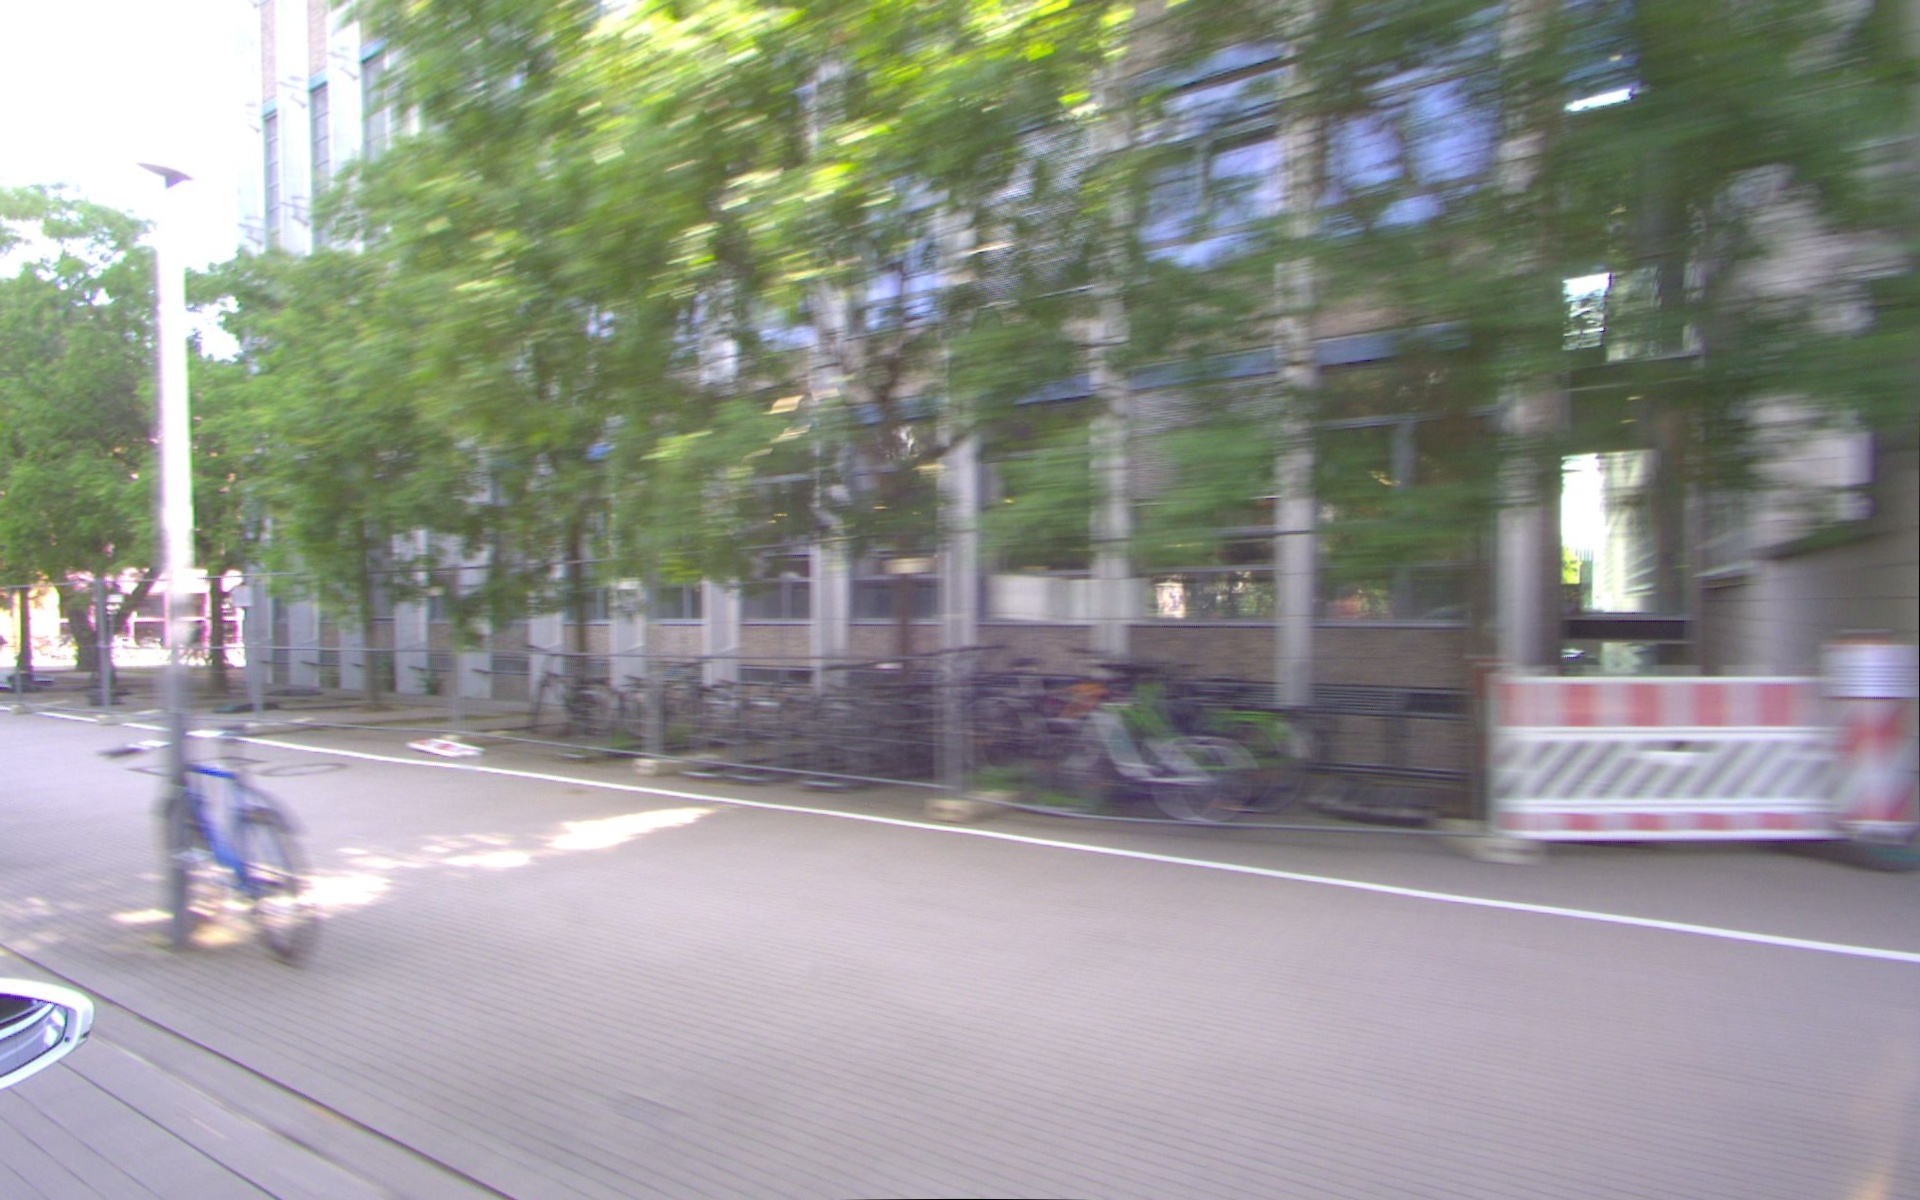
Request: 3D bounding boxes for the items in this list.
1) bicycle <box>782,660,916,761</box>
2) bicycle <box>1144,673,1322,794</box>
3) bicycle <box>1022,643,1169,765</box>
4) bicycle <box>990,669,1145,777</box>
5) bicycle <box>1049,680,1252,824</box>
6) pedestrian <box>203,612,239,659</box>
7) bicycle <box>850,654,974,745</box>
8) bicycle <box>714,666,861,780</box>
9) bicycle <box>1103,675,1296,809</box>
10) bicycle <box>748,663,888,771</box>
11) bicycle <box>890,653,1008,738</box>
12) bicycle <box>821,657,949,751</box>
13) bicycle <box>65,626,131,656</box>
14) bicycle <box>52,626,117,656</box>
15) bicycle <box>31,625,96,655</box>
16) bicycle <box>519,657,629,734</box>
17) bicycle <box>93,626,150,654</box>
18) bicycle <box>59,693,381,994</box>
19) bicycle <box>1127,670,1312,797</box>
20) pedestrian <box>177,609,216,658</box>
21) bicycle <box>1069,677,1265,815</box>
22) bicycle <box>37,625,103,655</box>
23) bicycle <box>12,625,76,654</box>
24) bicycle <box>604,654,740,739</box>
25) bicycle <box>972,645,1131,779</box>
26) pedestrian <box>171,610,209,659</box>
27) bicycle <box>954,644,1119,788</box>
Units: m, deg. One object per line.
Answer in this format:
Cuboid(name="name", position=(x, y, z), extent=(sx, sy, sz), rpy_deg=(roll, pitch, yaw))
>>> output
Cuboid(name="bicycle", position=(-1.122, 1.085, 10.017), extent=(1.426, 0.917, 0.290), rpy_deg=(0, 0, 29))
Cuboid(name="bicycle", position=(2.293, 1.102, 8.482), extent=(1.426, 0.917, 0.290), rpy_deg=(0, 0, 29))
Cuboid(name="bicycle", position=(1.315, 0.989, 9.839), extent=(1.426, 1.113, 0.290), rpy_deg=(0, 0, 29))
Cuboid(name="bicycle", position=(0.981, 1.112, 9.290), extent=(1.426, 0.899, 0.290), rpy_deg=(0, 0, 29))
Cuboid(name="bicycle", position=(1.352, 1.065, 7.238), extent=(1.426, 0.917, 0.290), rpy_deg=(0, 0, 29))
Cuboid(name="pedestrian", position=(-28.602, 1.366, 38.756), extent=(0.674, 1.750, 0.901), rpy_deg=(-3, -1, 27))
Cuboid(name="bicycle", position=(-0.540, 1.078, 11.043), extent=(1.426, 0.917, 0.290), rpy_deg=(0, 0, 29))
Cuboid(name="bicycle", position=(-1.560, 1.075, 8.954), extent=(1.426, 0.917, 0.290), rpy_deg=(0, 0, 29))
Cuboid(name="bicycle", position=(1.833, 1.070, 7.747), extent=(1.426, 0.917, 0.290), rpy_deg=(0, 0, 29))
Cuboid(name="bicycle", position=(-1.359, 1.081, 9.459), extent=(1.426, 0.917, 0.290), rpy_deg=(0, 0, 29))
Cuboid(name="bicycle", position=(-0.140, 1.091, 11.667), extent=(1.426, 0.917, 0.290), rpy_deg=(0, 0, 29))
Cuboid(name="bicycle", position=(-0.806, 1.082, 10.614), extent=(1.426, 0.917, 0.290), rpy_deg=(0, 0, 29))
Cuboid(name="bicycle", position=(-32.832, 1.567, 38.164), extent=(0.517, 1.124, 1.804), rpy_deg=(-1, -2, 36))
Cuboid(name="bicycle", position=(-33.492, 1.567, 38.339), extent=(0.516, 1.124, 1.807), rpy_deg=(0, -2, 31))
Cuboid(name="bicycle", position=(-35.071, 1.570, 39.204), extent=(0.516, 1.124, 1.808), rpy_deg=(0, -2, 29))
Cuboid(name="bicycle", position=(-5.000, 1.220, 12.937), extent=(1.592, 0.917, 0.290), rpy_deg=(0, 0, 24))
Cuboid(name="bicycle", position=(-35.018, 1.665, 41.844), extent=(0.466, 1.124, 1.806), rpy_deg=(0, -2, 26))
Cuboid(name="bicycle", position=(-3.418, 1.007, 4.571), extent=(1.832, 1.053, 0.536), rpy_deg=(-1, 0, 32))
Cuboid(name="bicycle", position=(2.086, 1.055, 8.130), extent=(1.426, 0.917, 0.290), rpy_deg=(0, 0, 29))
Cuboid(name="pedestrian", position=(-27.525, 1.206, 36.112), extent=(0.674, 1.750, 0.901), rpy_deg=(-3, -1, 27))
Cuboid(name="bicycle", position=(1.536, 1.063, 7.520), extent=(1.426, 0.917, 0.290), rpy_deg=(0, 0, 29))
Cuboid(name="bicycle", position=(-34.307, 1.551, 38.626), extent=(0.517, 1.124, 1.805), rpy_deg=(-1, -2, 35))
Cuboid(name="bicycle", position=(-36.676, 1.588, 40.115), extent=(0.516, 1.124, 1.807), rpy_deg=(0, -2, 30))
Cuboid(name="bicycle", position=(-3.410, 1.115, 11.809), extent=(1.775, 0.917, 0.290), rpy_deg=(0, 0, 24))
Cuboid(name="bicycle", position=(0.805, 0.971, 8.988), extent=(1.426, 1.108, 0.290), rpy_deg=(0, 0, 29))
Cuboid(name="pedestrian", position=(-28.153, 1.256, 36.615), extent=(0.674, 1.750, 0.901), rpy_deg=(-3, -1, 27))
Cuboid(name="bicycle", position=(0.644, 0.966, 8.628), extent=(1.426, 1.143, 0.290), rpy_deg=(0, 0, 29))
